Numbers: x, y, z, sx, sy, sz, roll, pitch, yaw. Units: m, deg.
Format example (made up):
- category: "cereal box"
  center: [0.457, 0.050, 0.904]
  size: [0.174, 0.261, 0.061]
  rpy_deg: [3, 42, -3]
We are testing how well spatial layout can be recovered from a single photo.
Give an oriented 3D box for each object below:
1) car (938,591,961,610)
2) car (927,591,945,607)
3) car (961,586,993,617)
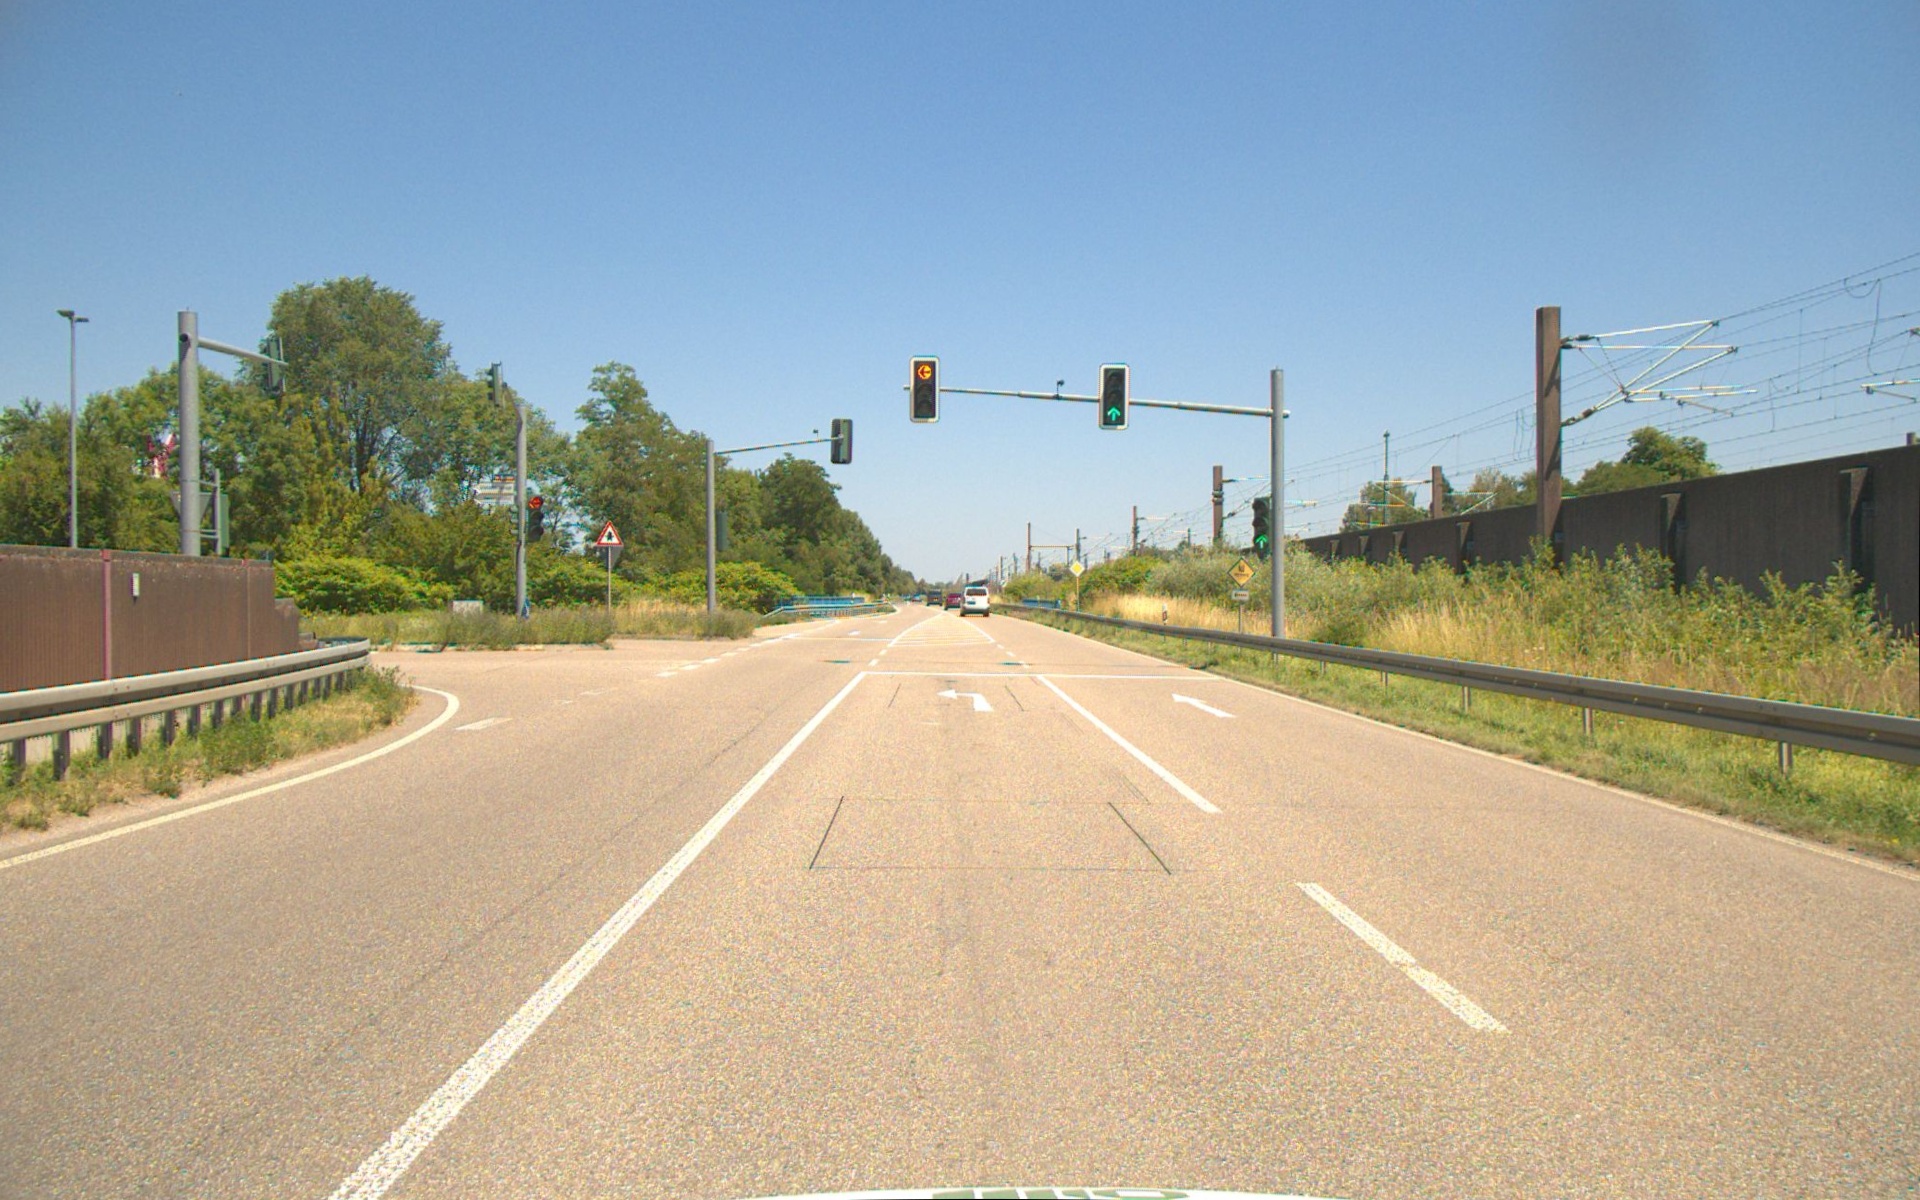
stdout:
- category: "car"
  center: [-0.965, 0.031, 154.422]
  size: [1.979, 1.756, 4.541]
  rpy_deg: [1, 0, -3]
- category: "car"
  center: [-3.037, -0.161, 211.108]
  size: [2.112, 2.002, 4.541]
  rpy_deg: [1, 0, -3]
- category: "car"
  center: [1.117, 0.075, 111.045]
  size: [1.953, 2.018, 4.058]
  rpy_deg: [1, 0, -2]
